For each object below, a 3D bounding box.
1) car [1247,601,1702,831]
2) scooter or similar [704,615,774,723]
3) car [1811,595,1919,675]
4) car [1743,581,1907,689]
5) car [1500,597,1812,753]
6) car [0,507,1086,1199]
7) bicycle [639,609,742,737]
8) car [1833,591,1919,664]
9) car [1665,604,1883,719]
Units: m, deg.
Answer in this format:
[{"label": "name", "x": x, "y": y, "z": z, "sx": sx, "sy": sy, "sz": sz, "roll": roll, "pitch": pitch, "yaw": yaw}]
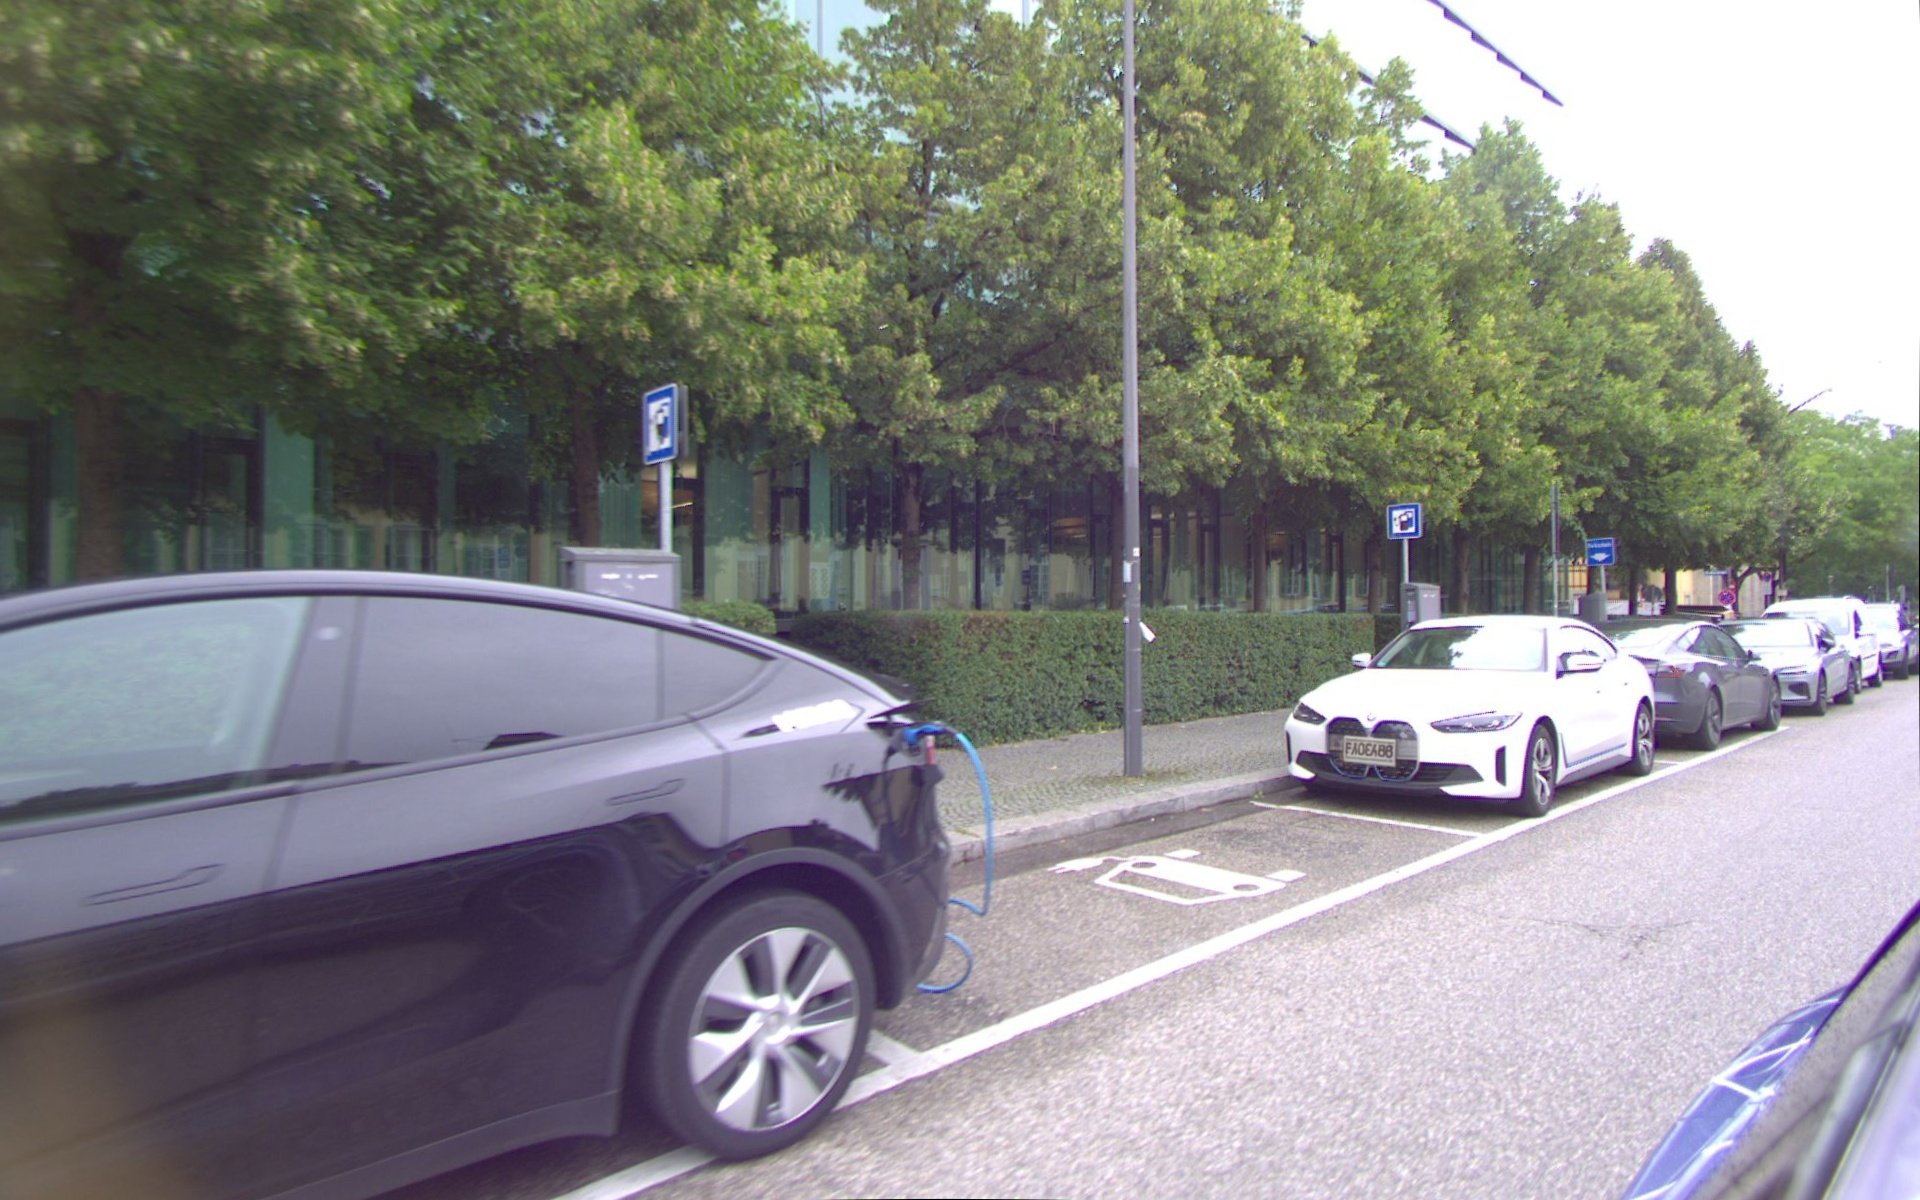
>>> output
[{"label": "car", "x": 4.738, "y": 0.781, "z": 8.929, "sx": 4.873, "sy": 1.479, "sz": 1.995, "roll": 0, "pitch": -2, "yaw": -43}, {"label": "scooter or similar", "x": -2.630, "y": 0.792, "z": 12.111, "sx": 0.447, "sy": 1.215, "sz": 1.193, "roll": 0, "pitch": -1, "yaw": 7}, {"label": "car", "x": 21.875, "y": 0.791, "z": 24.063, "sx": 4.703, "sy": 1.713, "sz": 1.869, "roll": 0, "pitch": -2, "yaw": -42}, {"label": "car", "x": 17.349, "y": 0.651, "z": 20.233, "sx": 4.494, "sy": 1.920, "sz": 1.787, "roll": 0, "pitch": -2, "yaw": -41}, {"label": "car", "x": 8.725, "y": 0.786, "z": 12.519, "sx": 4.763, "sy": 1.572, "sz": 1.965, "roll": 0, "pitch": -2, "yaw": -40}, {"label": "car", "x": -2.168, "y": 0.697, "z": 2.581, "sx": 5.007, "sy": 1.652, "sz": 1.998, "roll": 0, "pitch": -2, "yaw": -39}, {"label": "bicycle", "x": -3.012, "y": 0.745, "z": 11.182, "sx": 0.621, "sy": 1.285, "sz": 1.947, "roll": 0, "pitch": -1, "yaw": -30}, {"label": "car", "x": 25.101, "y": 0.732, "z": 27.431, "sx": 1.810, "sy": 1.831, "sz": 4.277, "roll": -3, "pitch": -2, "yaw": 45}, {"label": "car", "x": 13.159, "y": 0.872, "z": 16.236, "sx": 4.919, "sy": 1.572, "sz": 1.949, "roll": 0, "pitch": -2, "yaw": -42}]
